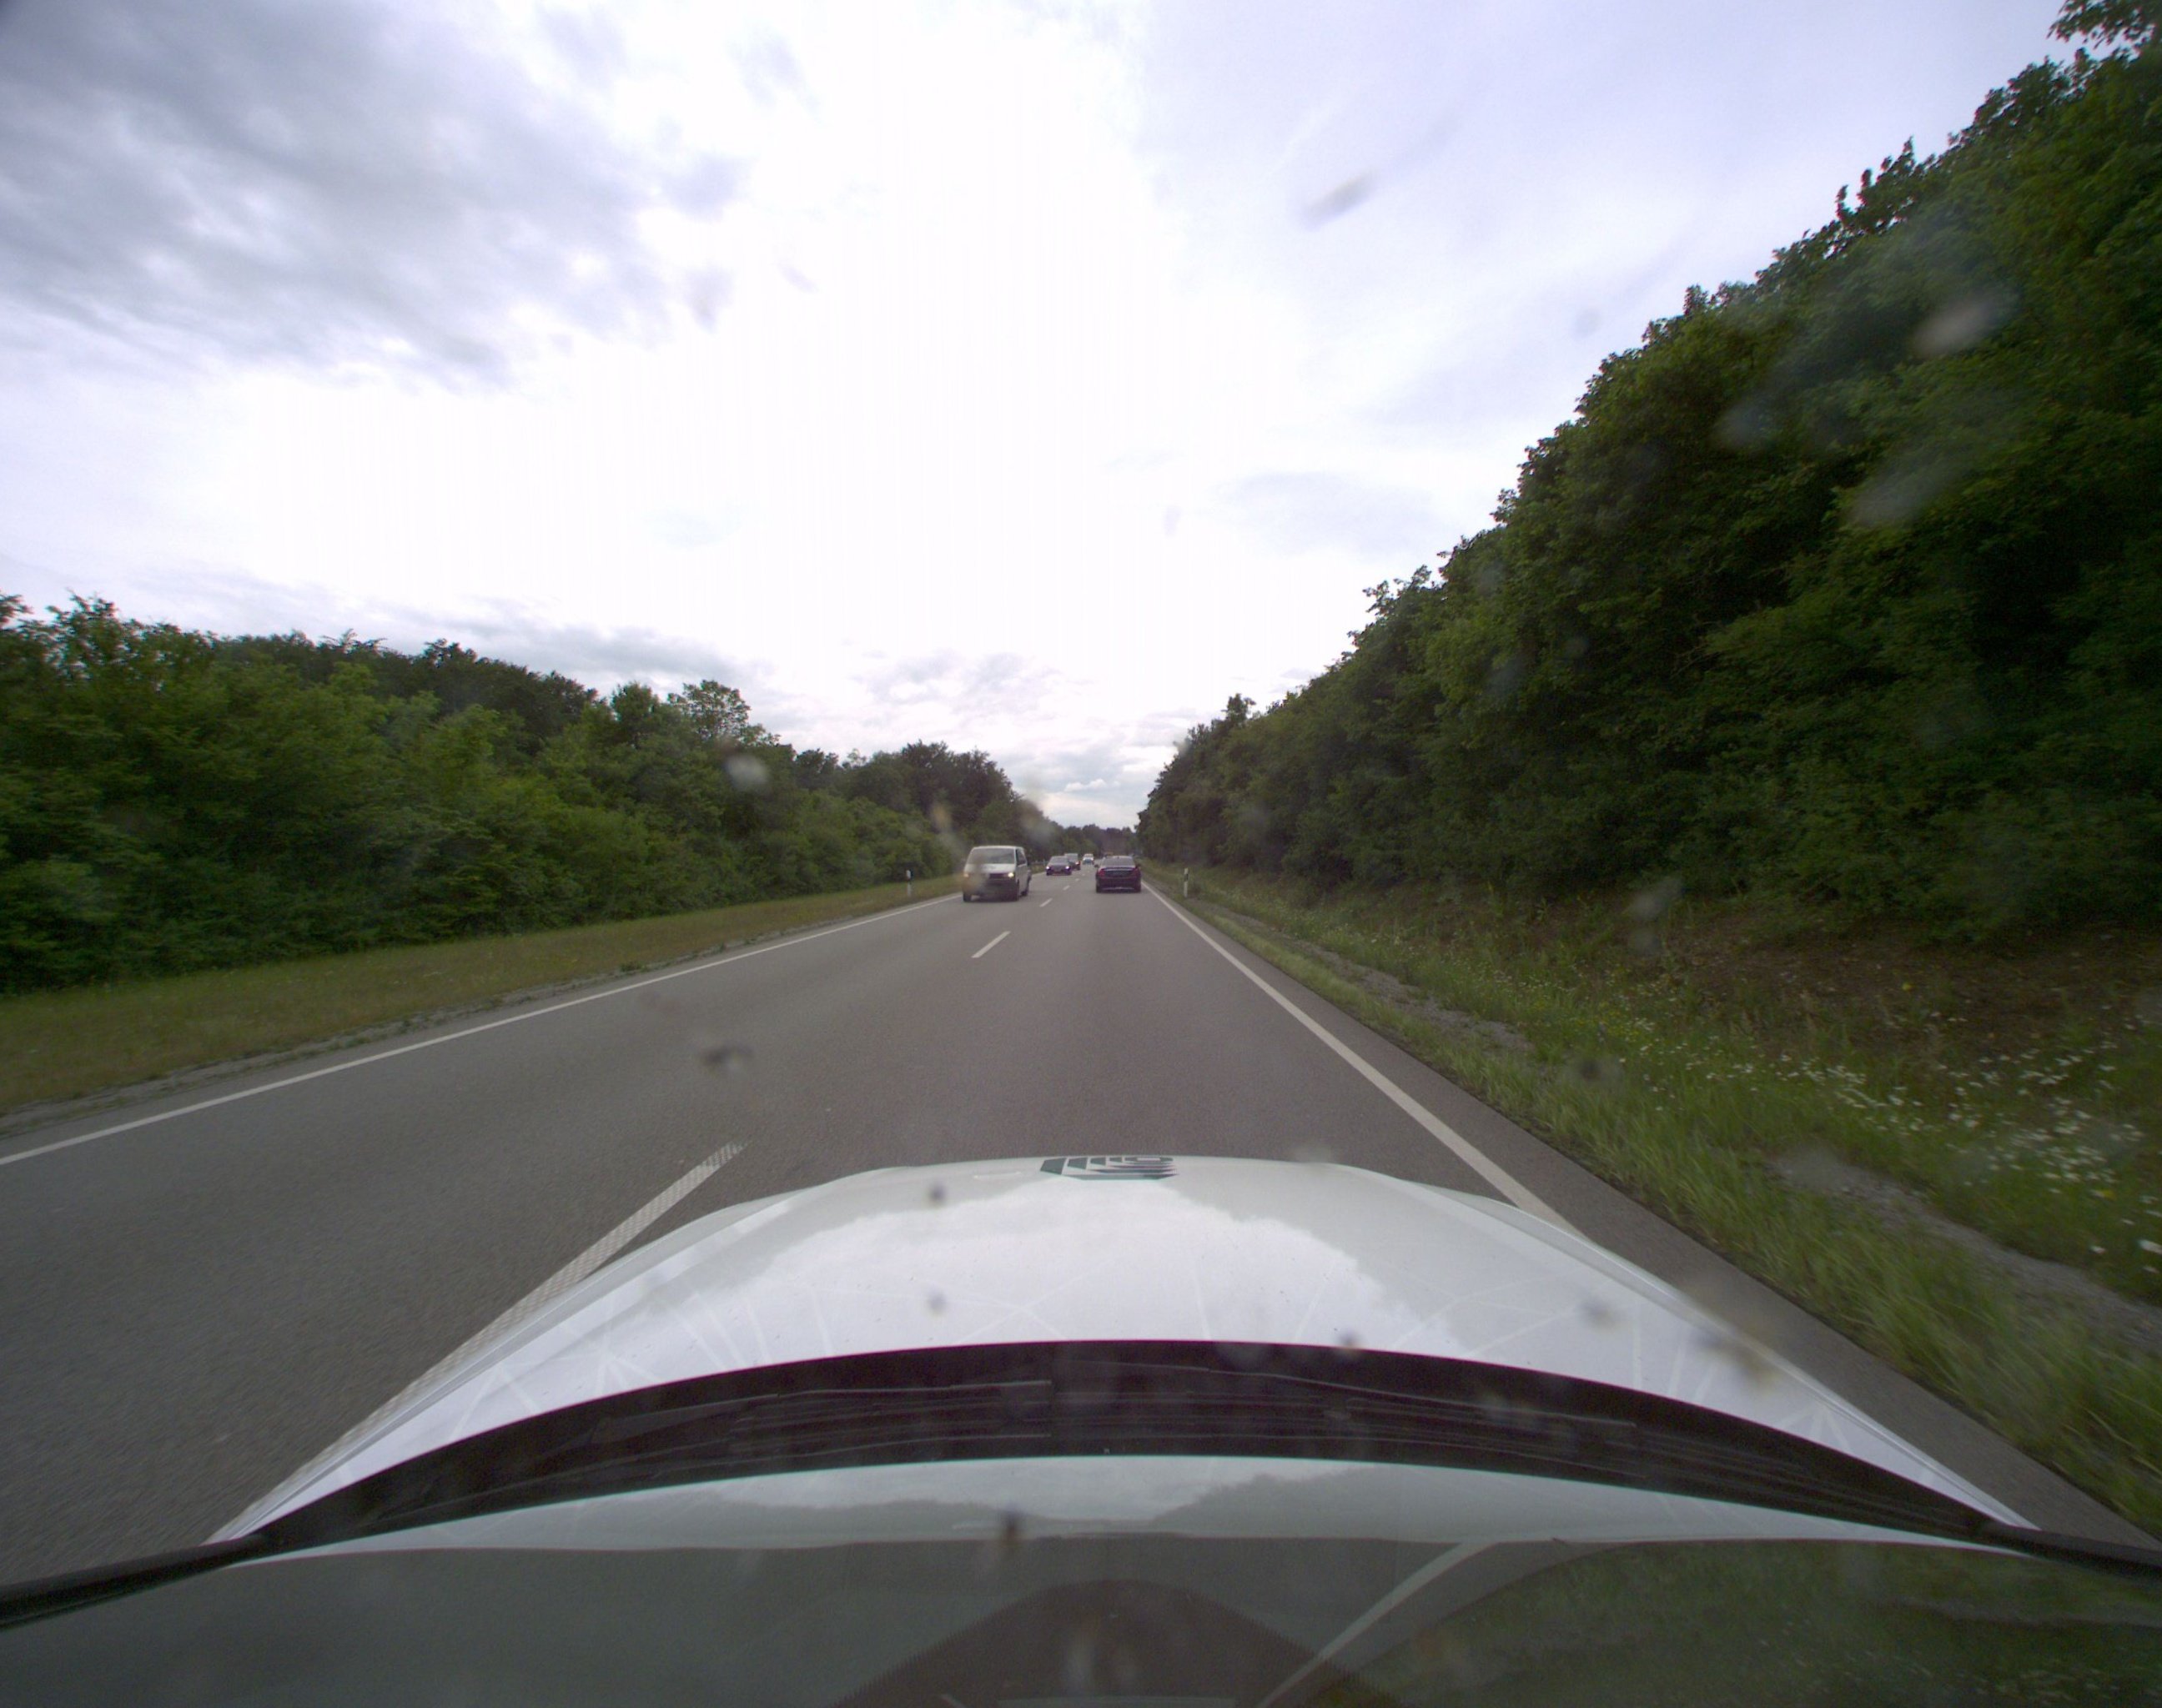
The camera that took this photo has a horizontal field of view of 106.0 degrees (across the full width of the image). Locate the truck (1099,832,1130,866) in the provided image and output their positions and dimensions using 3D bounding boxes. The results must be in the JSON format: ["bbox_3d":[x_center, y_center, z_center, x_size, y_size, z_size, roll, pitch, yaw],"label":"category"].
[{"bbox_3d":[3.937,-0.506,93.896,3.267,3.611,11.408,-1,0,3],"label":"truck"}]

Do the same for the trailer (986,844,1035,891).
[{"bbox_3d":[-2.939,0.555,34.641,1.616,1.892,3.785,0,0,2],"label":"trailer"}]

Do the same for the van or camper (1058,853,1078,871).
[{"bbox_3d":[-1.317,0.858,83.753,1.988,1.783,4.419,0,0,-1],"label":"van or camper"}]

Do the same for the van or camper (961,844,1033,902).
[{"bbox_3d":[-2.942,0.645,29.675,1.914,1.892,5.364,0,0,2],"label":"van or camper"}]

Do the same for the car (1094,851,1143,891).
[{"bbox_3d":[1.512,0.683,33.947,1.786,1.552,3.998,0,0,-1],"label":"car"}]

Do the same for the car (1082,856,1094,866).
[{"bbox_3d":[1.146,1.121,134.954,1.868,1.559,3.757,0,0,2],"label":"car"}]

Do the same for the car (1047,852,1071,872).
[{"bbox_3d":[-1.703,0.614,64.199,1.682,1.479,4.458,0,0,2],"label":"car"}]
